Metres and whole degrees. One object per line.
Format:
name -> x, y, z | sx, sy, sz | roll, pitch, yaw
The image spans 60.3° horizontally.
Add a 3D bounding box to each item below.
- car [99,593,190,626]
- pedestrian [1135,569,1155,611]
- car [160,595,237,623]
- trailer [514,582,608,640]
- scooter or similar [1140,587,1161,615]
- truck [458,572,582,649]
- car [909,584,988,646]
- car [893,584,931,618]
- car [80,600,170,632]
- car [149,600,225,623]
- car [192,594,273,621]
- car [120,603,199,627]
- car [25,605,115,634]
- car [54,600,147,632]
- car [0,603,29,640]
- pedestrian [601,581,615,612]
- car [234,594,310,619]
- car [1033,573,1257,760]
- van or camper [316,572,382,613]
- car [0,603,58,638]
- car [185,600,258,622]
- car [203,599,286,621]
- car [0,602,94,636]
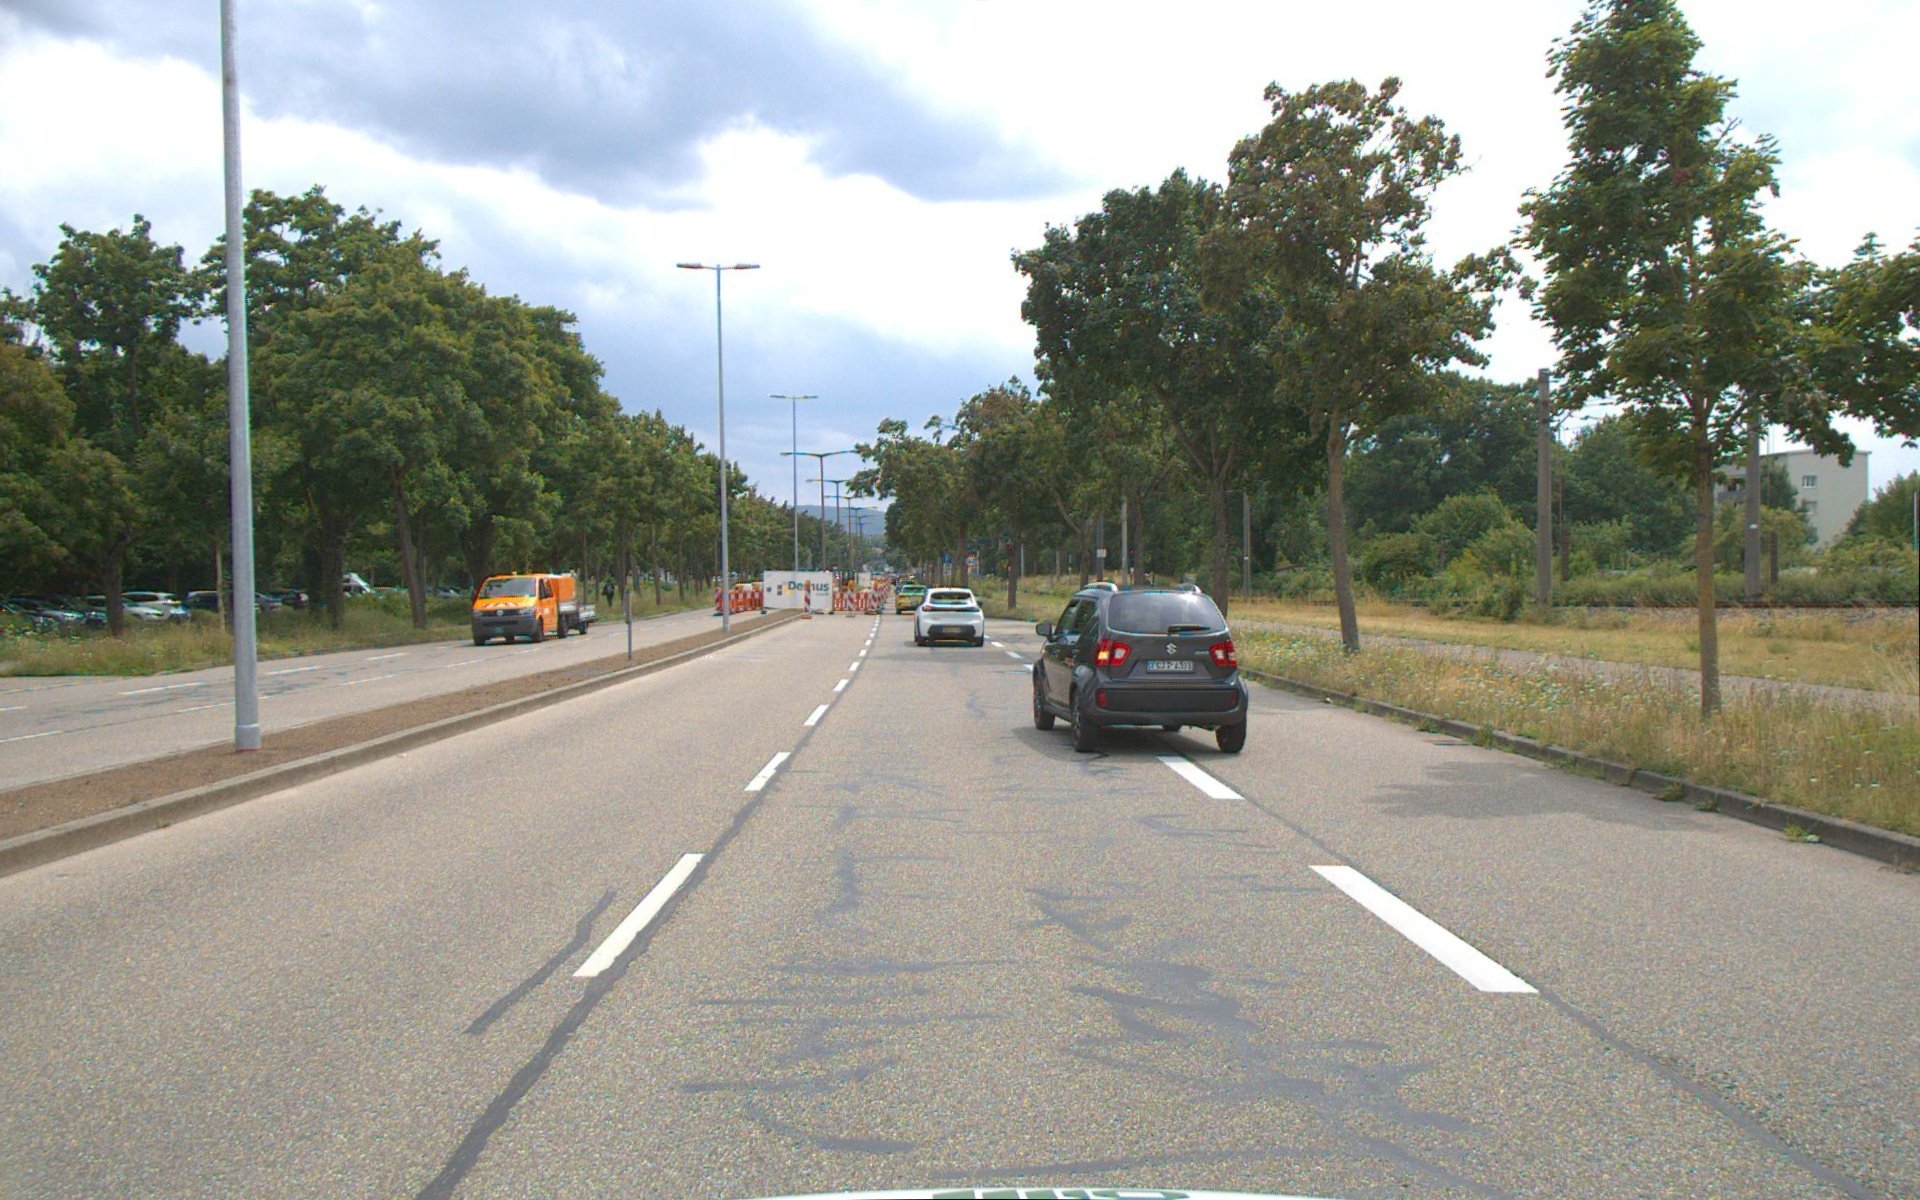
car -> -40.753, 0.476, 82.718 | 3.574, 1.546, 1.883 | -1, 1, 0
pedestrian -> 7.805, -0.431, 69.818 | 0.677, 1.725, 0.933 | -1, 1, -6
car -> -40.672, 0.465, 88.392 | 3.477, 1.436, 1.322 | -1, 1, 0
trailer -> -12.789, 0.329, 53.265 | 2.020, 1.719, 3.895 | -2, 0, 0
scooter or similar -> 7.913, 0.026, 68.888 | 0.669, 1.149, 0.933 | -1, 1, -7
truck -> -12.757, 0.225, 48.403 | 2.046, 2.029, 6.038 | -2, 1, -1
car -> -0.336, 0.345, 42.904 | 1.732, 1.489, 3.996 | -1, 1, -5
car -> -2.354, 0.042, 82.198 | 1.757, 1.589, 4.000 | -1, 1, 0
car -> -40.463, 0.766, 80.186 | 3.574, 1.436, 1.517 | -1, 1, 0
car -> -40.382, 0.611, 86.433 | 3.298, 1.148, 1.441 | -1, 1, -1
car -> -40.862, 0.439, 92.979 | 3.654, 1.433, 2.000 | -1, 1, -1
car -> -41.009, 0.775, 84.764 | 3.298, 1.132, 1.441 | -1, 1, -1
car -> -40.231, 0.892, 74.779 | 3.226, 1.227, 1.517 | -1, 1, 0
car -> -40.390, 0.741, 77.753 | 3.574, 1.436, 1.517 | -1, 1, 0
car -> -40.210, 0.878, 66.961 | 3.903, 1.435, 2.001 | 0, 1, 3
pedestrian -> -21.135, -0.225, 99.396 | 0.681, 1.870, 0.647 | -1, 1, -24
car -> -41.128, 0.392, 98.930 | 3.695, 1.450, 1.966 | -1, 1, 0
car -> 1.778, 0.575, 17.066 | 1.669, 1.697, 3.998 | 0, 1, -3
van or camper -> -42.613, -0.514, 115.417 | 3.906, 2.804, 1.926 | -1, 1, -2
car -> -40.014, 0.873, 69.214 | 3.570, 1.384, 1.708 | -1, 1, 0
car -> -40.252, 0.593, 90.217 | 3.298, 1.113, 1.441 | -1, 1, -1
car -> -41.217, 0.594, 95.365 | 3.906, 1.182, 1.926 | -1, 1, -2
car -> -40.234, 0.831, 72.525 | 3.570, 1.384, 1.708 | -1, 1, 0
